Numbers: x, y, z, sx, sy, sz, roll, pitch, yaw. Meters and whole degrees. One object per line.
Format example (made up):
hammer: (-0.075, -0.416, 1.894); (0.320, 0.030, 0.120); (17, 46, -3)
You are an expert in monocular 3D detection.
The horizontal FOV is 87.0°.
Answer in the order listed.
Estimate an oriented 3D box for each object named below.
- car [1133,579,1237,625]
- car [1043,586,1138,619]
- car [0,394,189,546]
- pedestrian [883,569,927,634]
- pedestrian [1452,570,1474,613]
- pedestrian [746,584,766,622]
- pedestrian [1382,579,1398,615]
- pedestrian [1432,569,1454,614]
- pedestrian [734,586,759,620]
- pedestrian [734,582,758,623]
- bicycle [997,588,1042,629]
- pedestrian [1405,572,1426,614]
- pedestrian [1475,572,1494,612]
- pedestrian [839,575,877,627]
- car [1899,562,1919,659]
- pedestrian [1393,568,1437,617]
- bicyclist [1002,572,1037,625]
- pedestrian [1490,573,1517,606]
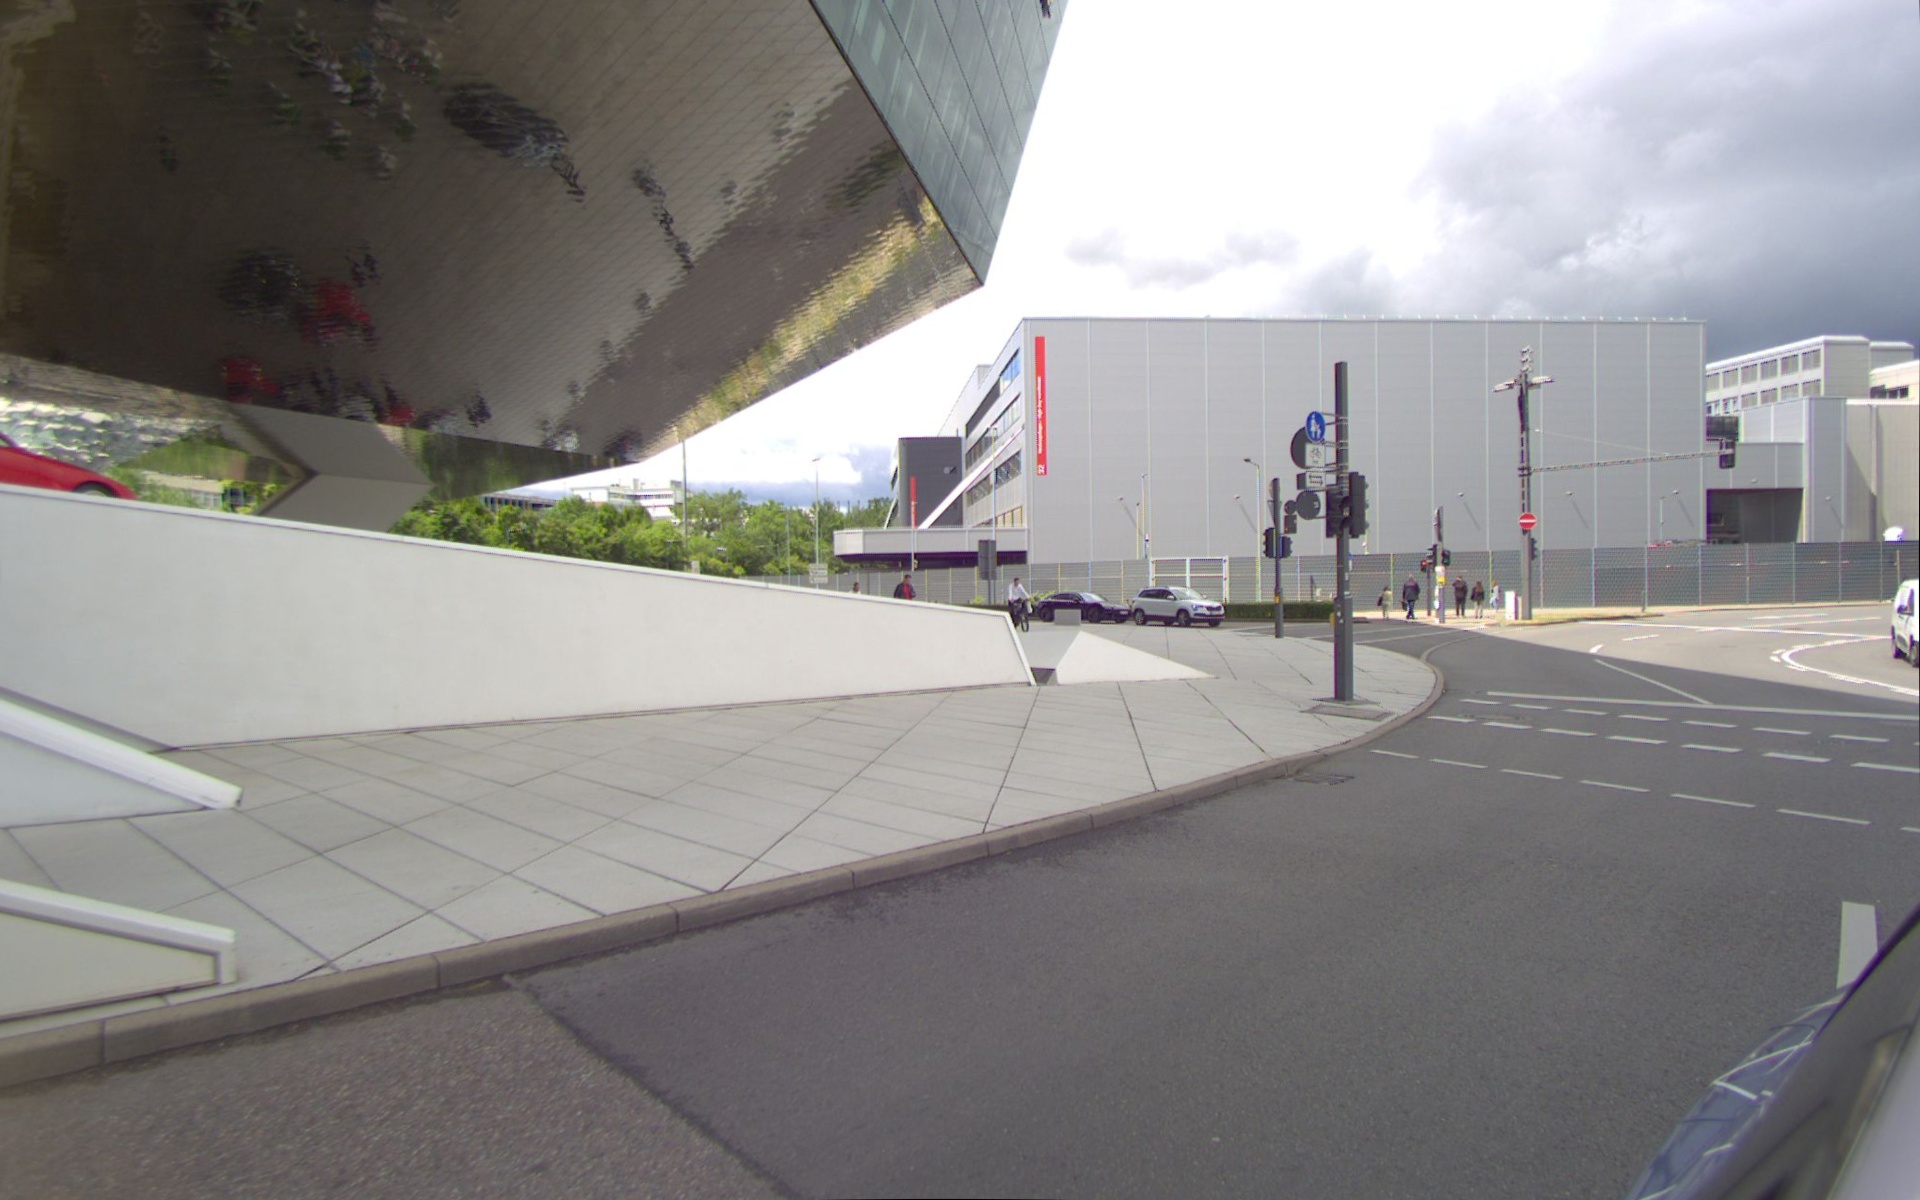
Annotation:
car: (8.851, 0.033, 40.141); (1.802, 1.568, 4.006); (-3, 3, -29)
car: (5.810, 0.140, 45.459); (1.805, 1.401, 4.154); (-1, 0, -38)
car: (-11.966, -1.688, 11.779); (1.969, 1.414, 4.493); (3, -5, 11)
pedestrian: (-1.617, 0.050, 29.833); (0.908, 1.849, 0.828); (-3, 1, -44)
pedestrian: (21.648, -0.361, 43.568); (0.610, 1.817, 0.671); (-3, 0, 12)
pedestrian: (-11.203, 0.165, 55.613); (0.812, 2.039, 0.776); (-3, 0, 3)
pedestrian: (18.633, -0.134, 43.863); (0.576, 1.515, 0.766); (-3, 0, 22)
pedestrian: (20.882, -0.370, 43.727); (0.610, 1.870, 0.671); (-3, 0, 10)
pedestrian: (-10.058, 0.134, 47.634); (0.789, 1.560, 0.786); (-3, 1, -39)
pedestrian: (-10.828, 0.133, 51.261); (0.822, 2.039, 0.767); (-2, 0, 37)
bicycle: (1.936, 0.264, 33.194); (0.764, 1.289, 1.930); (-3, 1, -18)
pedestrian: (19.851, -0.310, 44.113); (0.610, 1.781, 0.605); (-3, 0, 11)
pedestrian: (22.485, -0.340, 43.395); (0.666, 1.658, 0.614); (-2, 0, 27)
pedestrian: (-3.428, 0.044, 34.026); (0.908, 1.697, 0.828); (-3, 1, -44)
car: (21.554, 0.213, 21.558); (1.816, 2.039, 4.332); (0, 1, 37)
pedestrian: (18.668, -0.305, 41.557); (1.352, 2.010, 0.958); (0, 0, -19)
bicyclist: (1.942, -0.059, 33.183); (0.756, 1.674, 0.939); (-3, 0, -19)
pedestrian: (27.352, -0.551, 50.960); (0.903, 1.606, 0.696); (-3, 0, -3)
